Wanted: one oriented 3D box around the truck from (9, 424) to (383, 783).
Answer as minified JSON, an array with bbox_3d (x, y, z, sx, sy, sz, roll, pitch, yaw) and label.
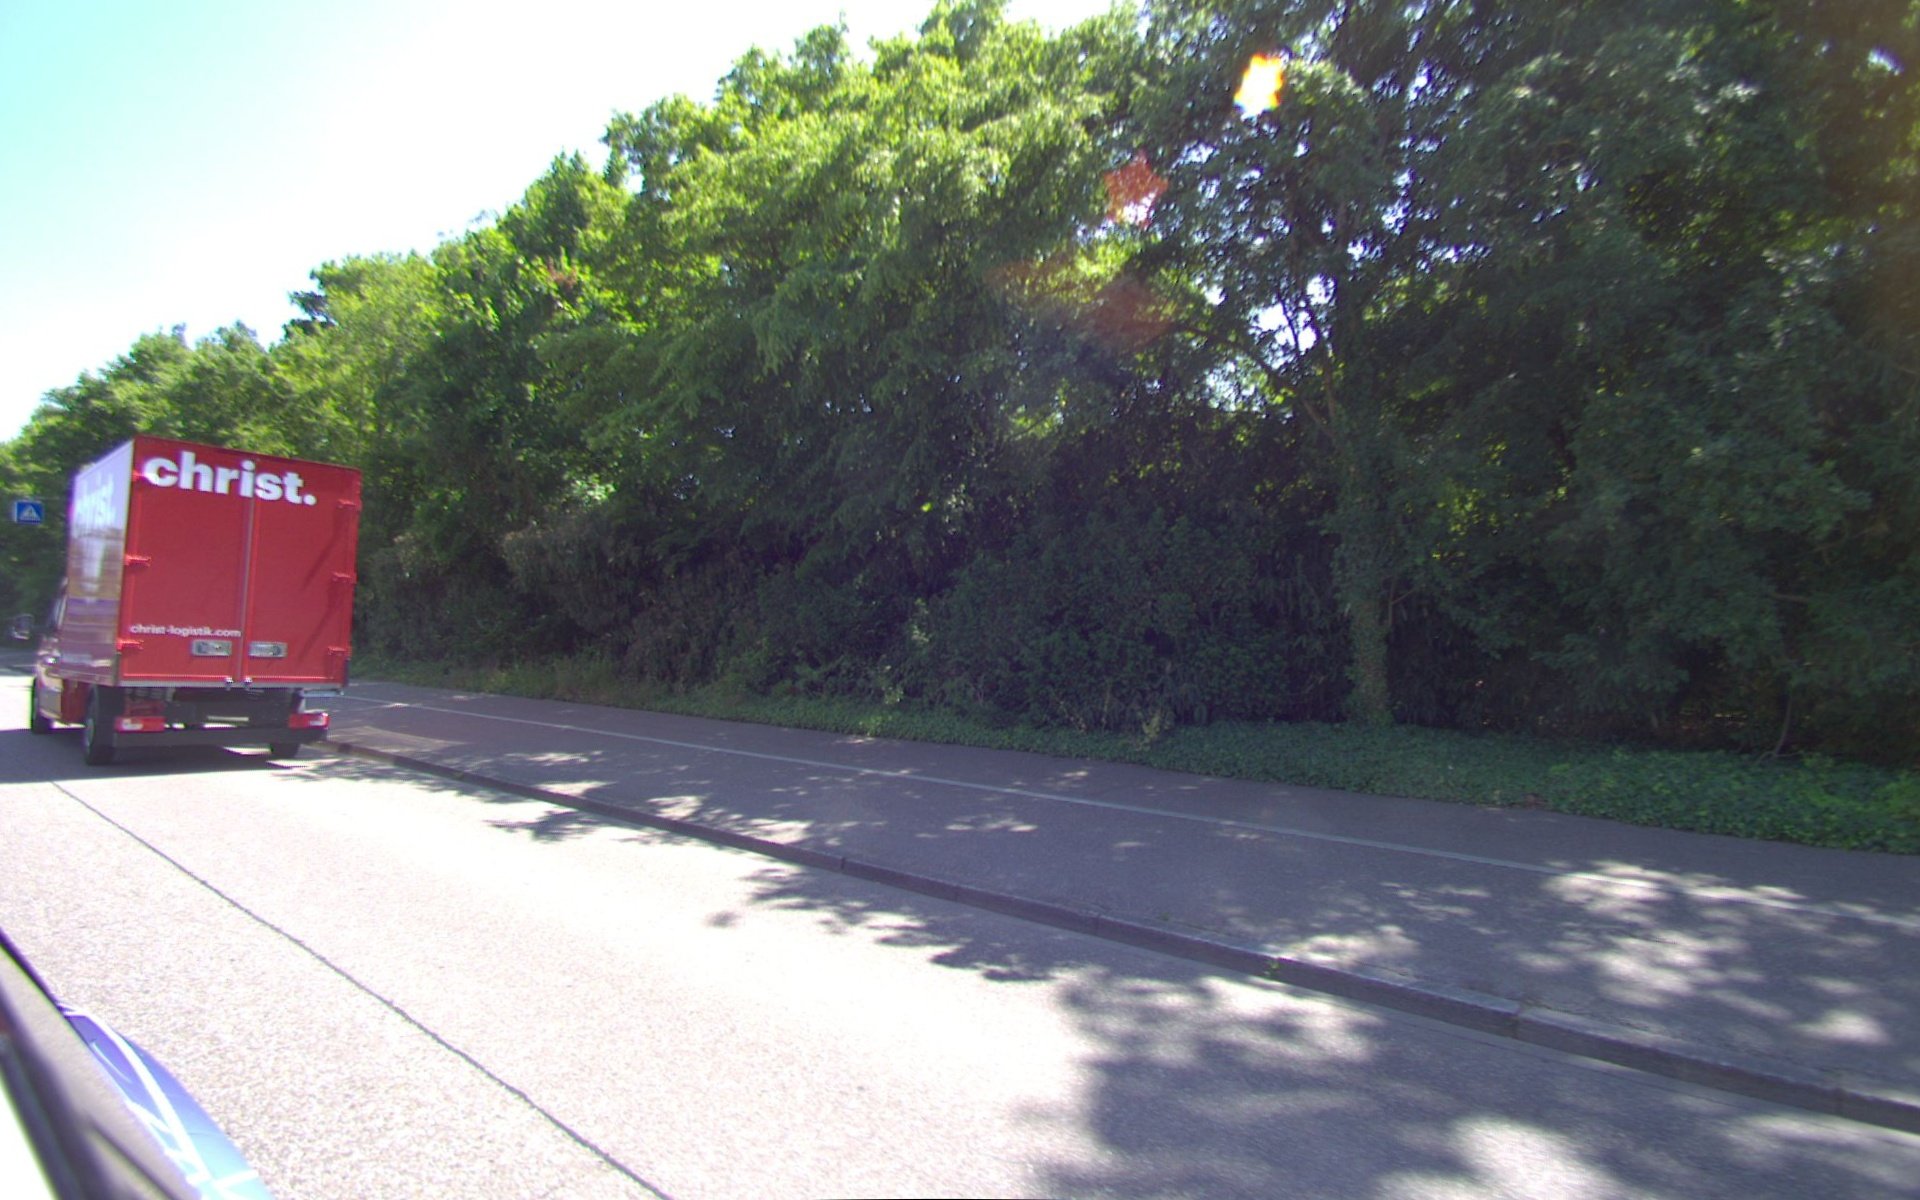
[{"bbox_3d":[-10.084,0.186,13.008,7.158,3.466,2.297,-2,-6,42],"label":"truck"}]
